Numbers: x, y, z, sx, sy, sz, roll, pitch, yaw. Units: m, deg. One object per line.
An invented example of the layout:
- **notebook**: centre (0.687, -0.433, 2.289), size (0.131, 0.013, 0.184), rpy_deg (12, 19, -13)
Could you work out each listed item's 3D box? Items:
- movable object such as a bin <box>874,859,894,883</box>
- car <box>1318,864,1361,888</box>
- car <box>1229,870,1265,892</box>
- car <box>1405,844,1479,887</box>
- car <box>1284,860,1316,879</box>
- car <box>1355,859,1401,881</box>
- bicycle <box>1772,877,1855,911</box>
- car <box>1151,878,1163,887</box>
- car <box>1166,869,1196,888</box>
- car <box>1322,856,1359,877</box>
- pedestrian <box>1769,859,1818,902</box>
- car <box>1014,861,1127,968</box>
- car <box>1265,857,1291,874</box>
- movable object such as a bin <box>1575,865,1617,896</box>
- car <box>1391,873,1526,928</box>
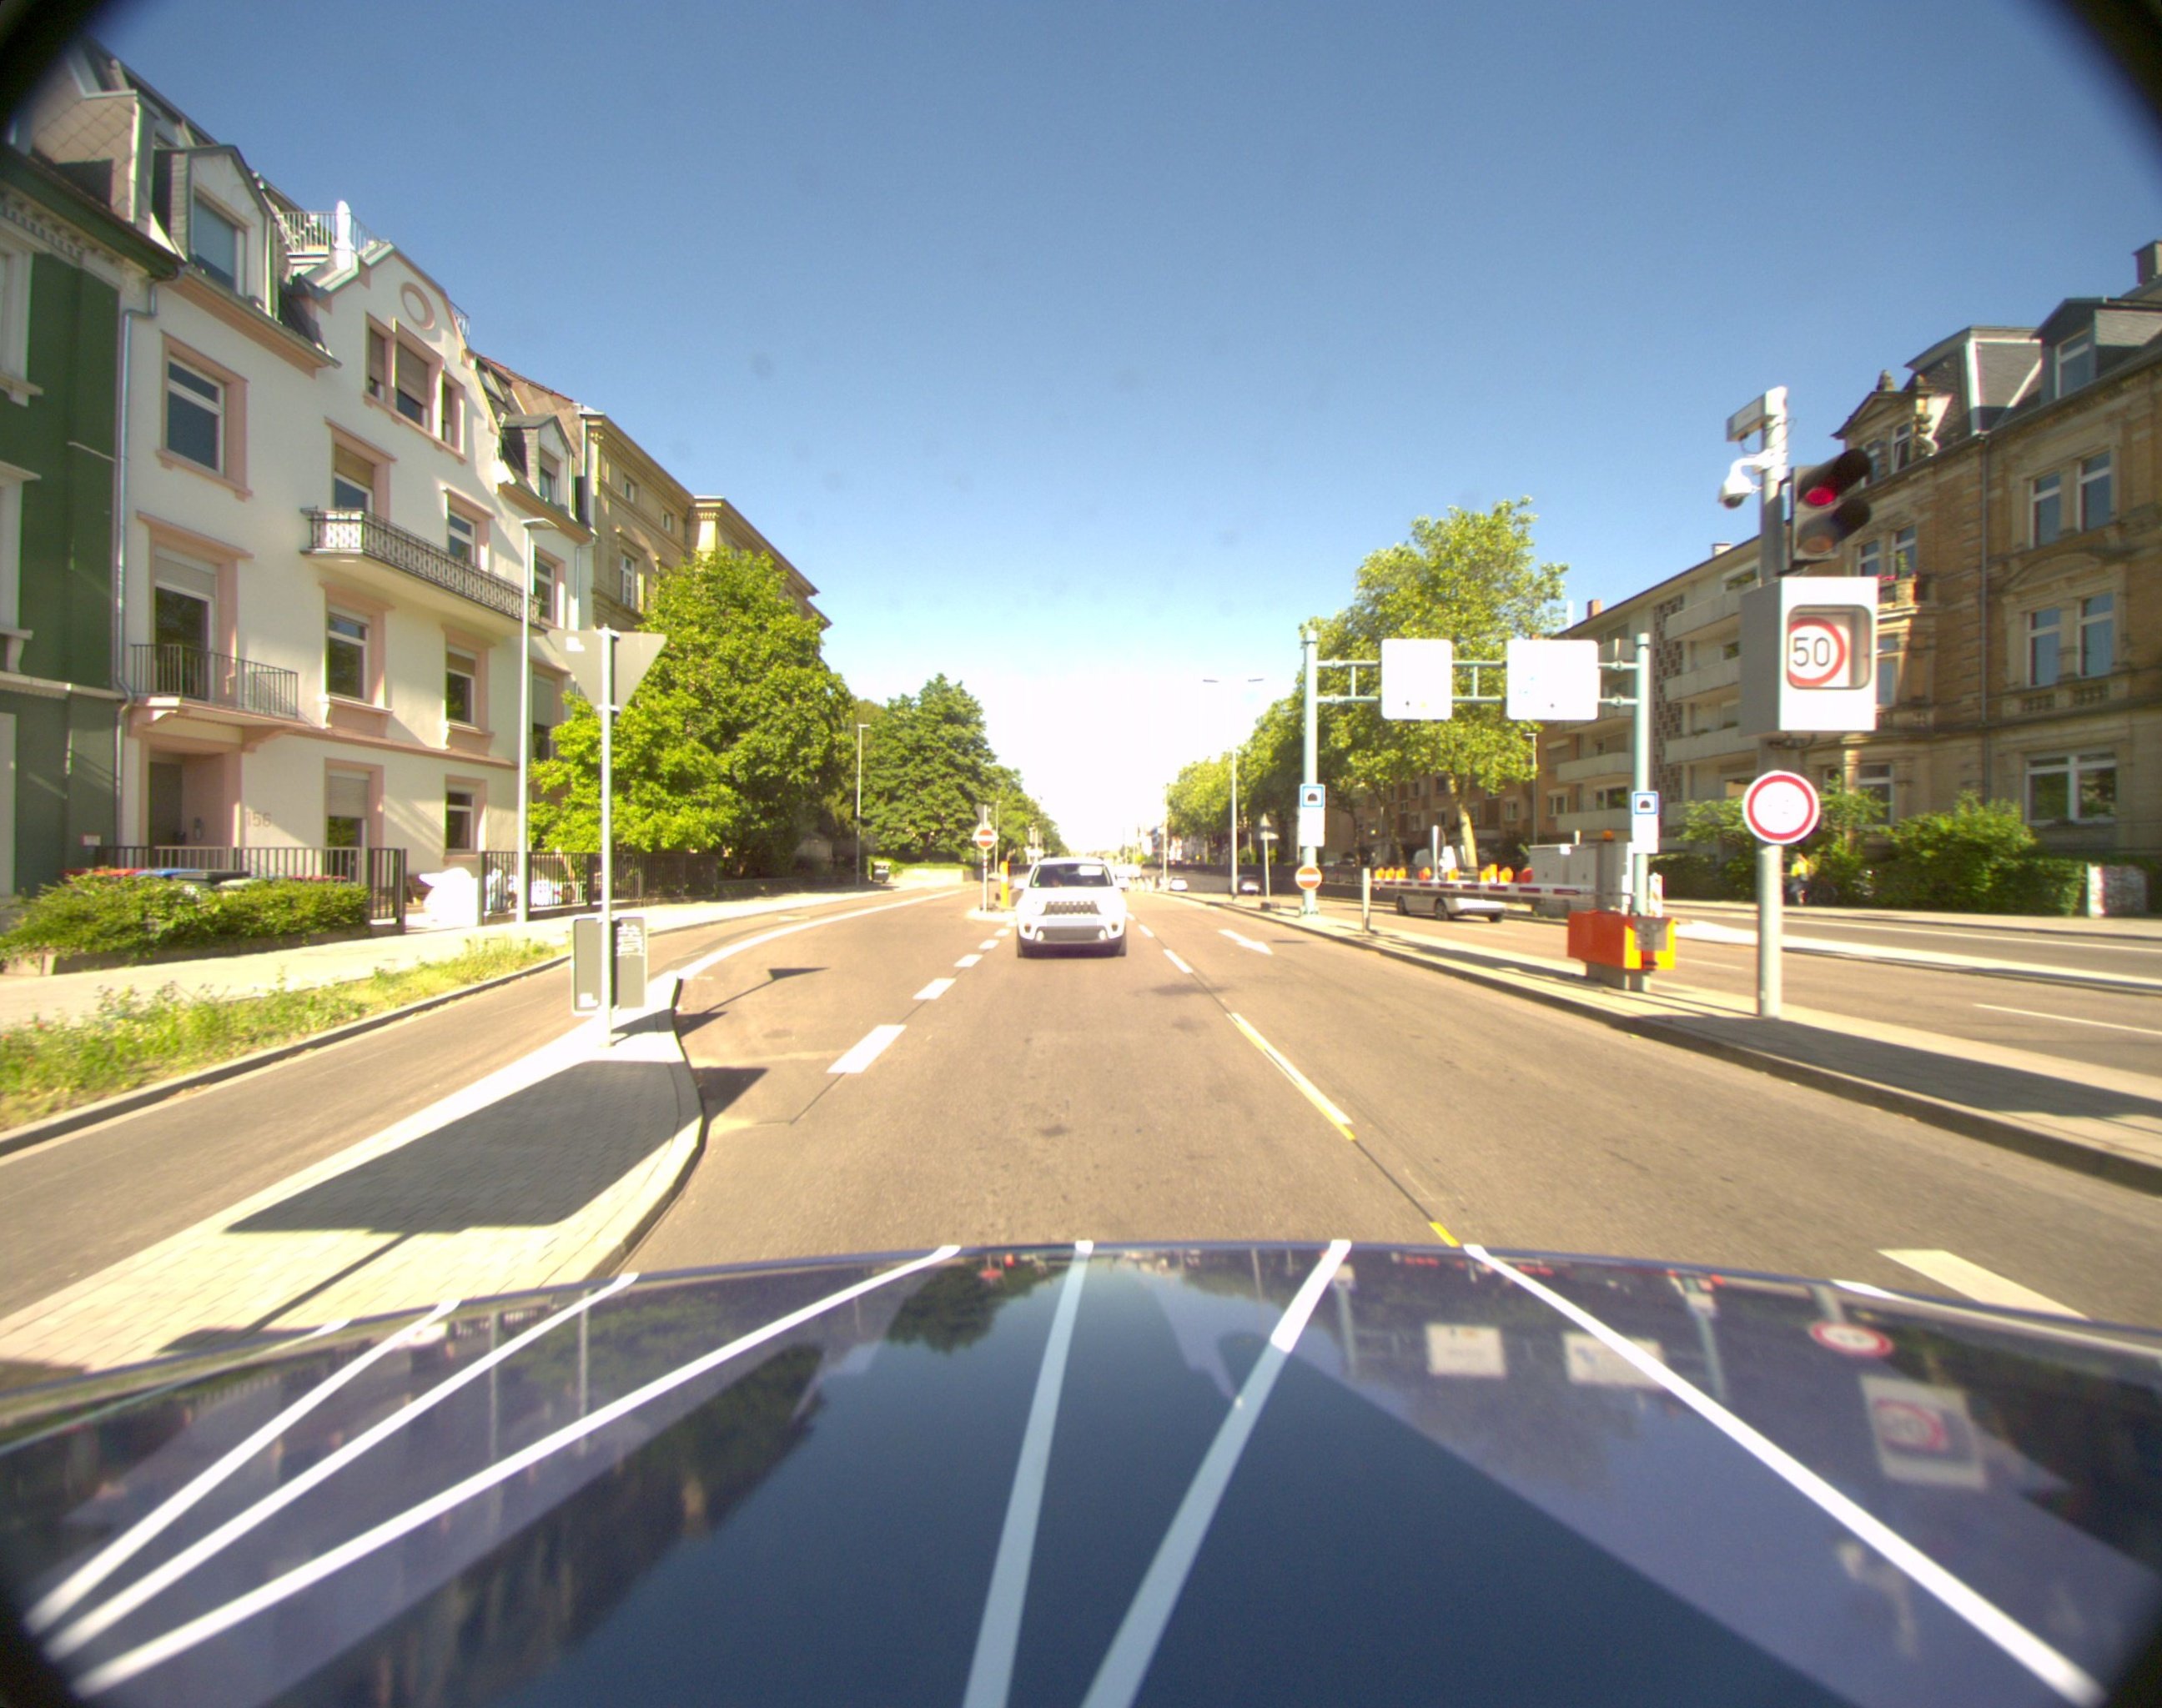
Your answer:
- **movable object such as a bin**: centre (-11.989, 1.015, 46.216), size (0.975, 1.389, 1.285), rpy_deg (2, -1, -22)
- **car**: centre (17.636, 1.478, 51.994), size (1.632, 1.429, 3.690), rpy_deg (-2, 0, 0)
- **car**: centre (12.066, 1.916, 55.408), size (1.611, 1.432, 4.311), rpy_deg (3, -1, 1)
- **car**: centre (22.601, 0.761, 47.880), size (2.250, 2.431, 5.289), rpy_deg (2, -2, 2)
- **car**: centre (18.116, 1.255, 62.931), size (1.632, 1.478, 3.690), rpy_deg (0, 1, 1)
- **car**: centre (22.772, 1.222, 58.390), size (1.998, 1.570, 4.001), rpy_deg (2, -2, 1)
- **bicycle**: centre (23.904, 1.280, 24.855), size (0.468, 0.999, 2.250), rpy_deg (-1, -1, -1)
- **car**: centre (12.122, 4.527, 120.974), size (1.663, 1.465, 3.298), rpy_deg (0, -1, 0)
- **car**: centre (9.127, 2.269, 69.559), size (1.999, 1.443, 4.620), rpy_deg (3, -3, -1)
- **car**: centre (22.779, 1.130, 66.780), size (1.998, 1.742, 4.001), rpy_deg (0, -2, 1)
- **pedestrian**: centre (23.298, 0.858, 24.850), size (0.568, 1.369, 1.090), rpy_deg (0, -1, -1)
- **car**: centre (-0.155, 0.983, 13.579), size (1.744, 1.647, 3.691), rpy_deg (0, -2, 0)
- **car**: centre (23.031, 1.407, 88.854), size (1.998, 1.839, 4.001), rpy_deg (2, -2, 0)
- **movable object such as a bin**: centre (23.435, 1.222, 34.607), size (0.895, 1.352, 1.474), rpy_deg (2, -1, 2)
- **car**: centre (11.506, 1.376, 23.552), size (1.998, 1.444, 4.392), rpy_deg (-3, -2, 1)
